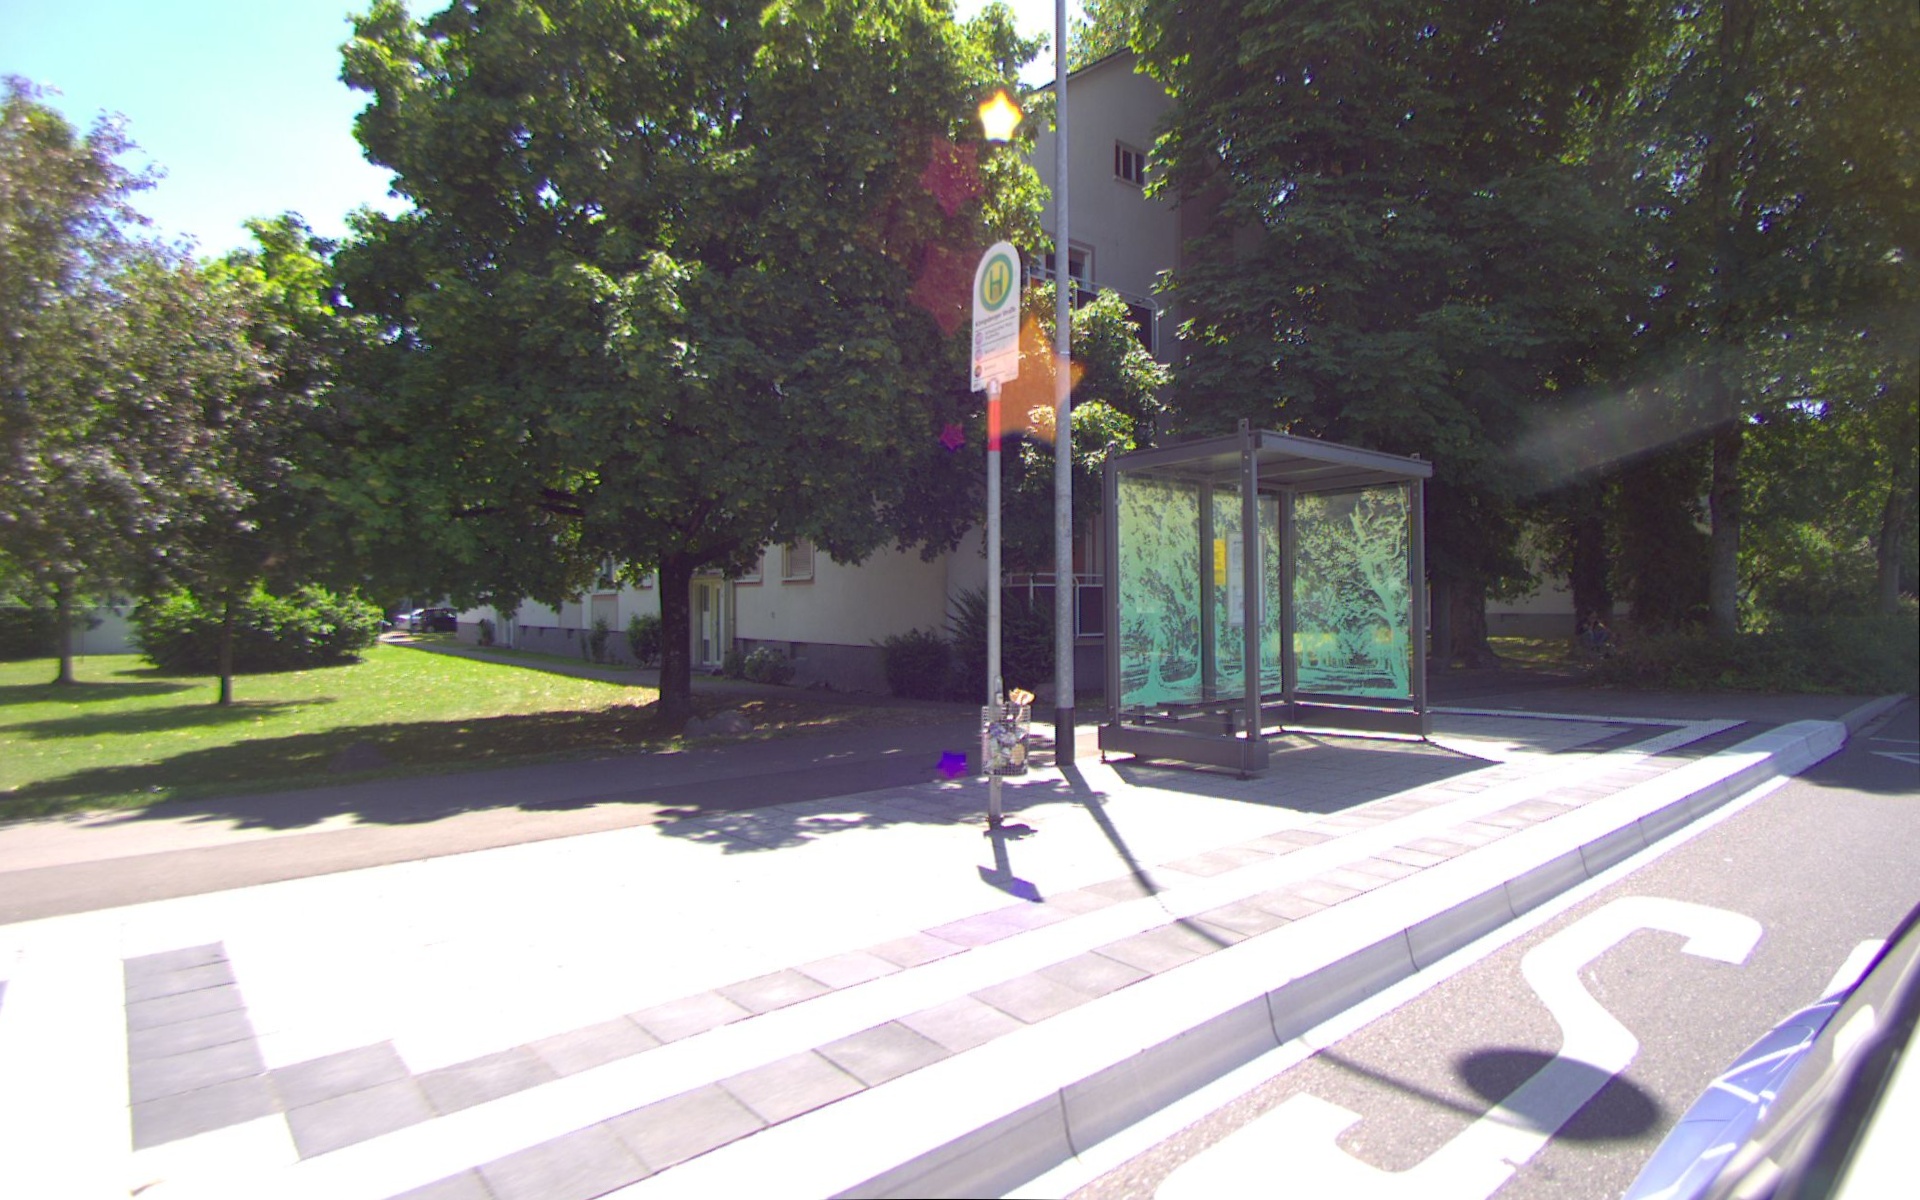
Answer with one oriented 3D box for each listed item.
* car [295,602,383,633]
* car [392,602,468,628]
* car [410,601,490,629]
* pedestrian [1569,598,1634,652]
[{"bbox_3d":[-34.087,0.942,55.578,3.926,1.572,1.998,-1,0,-38],"label":"car"},{"bbox_3d":[-33.064,0.932,63.175,3.926,1.566,1.998,-1,0,-38],"label":"car"},{"bbox_3d":[-29.933,0.873,59.452,3.926,1.572,1.998,-1,0,-38],"label":"car"},{"bbox_3d":[16.044,0.611,25.317,1.047,1.309,0.943,0,0,-27],"label":"pedestrian"}]
